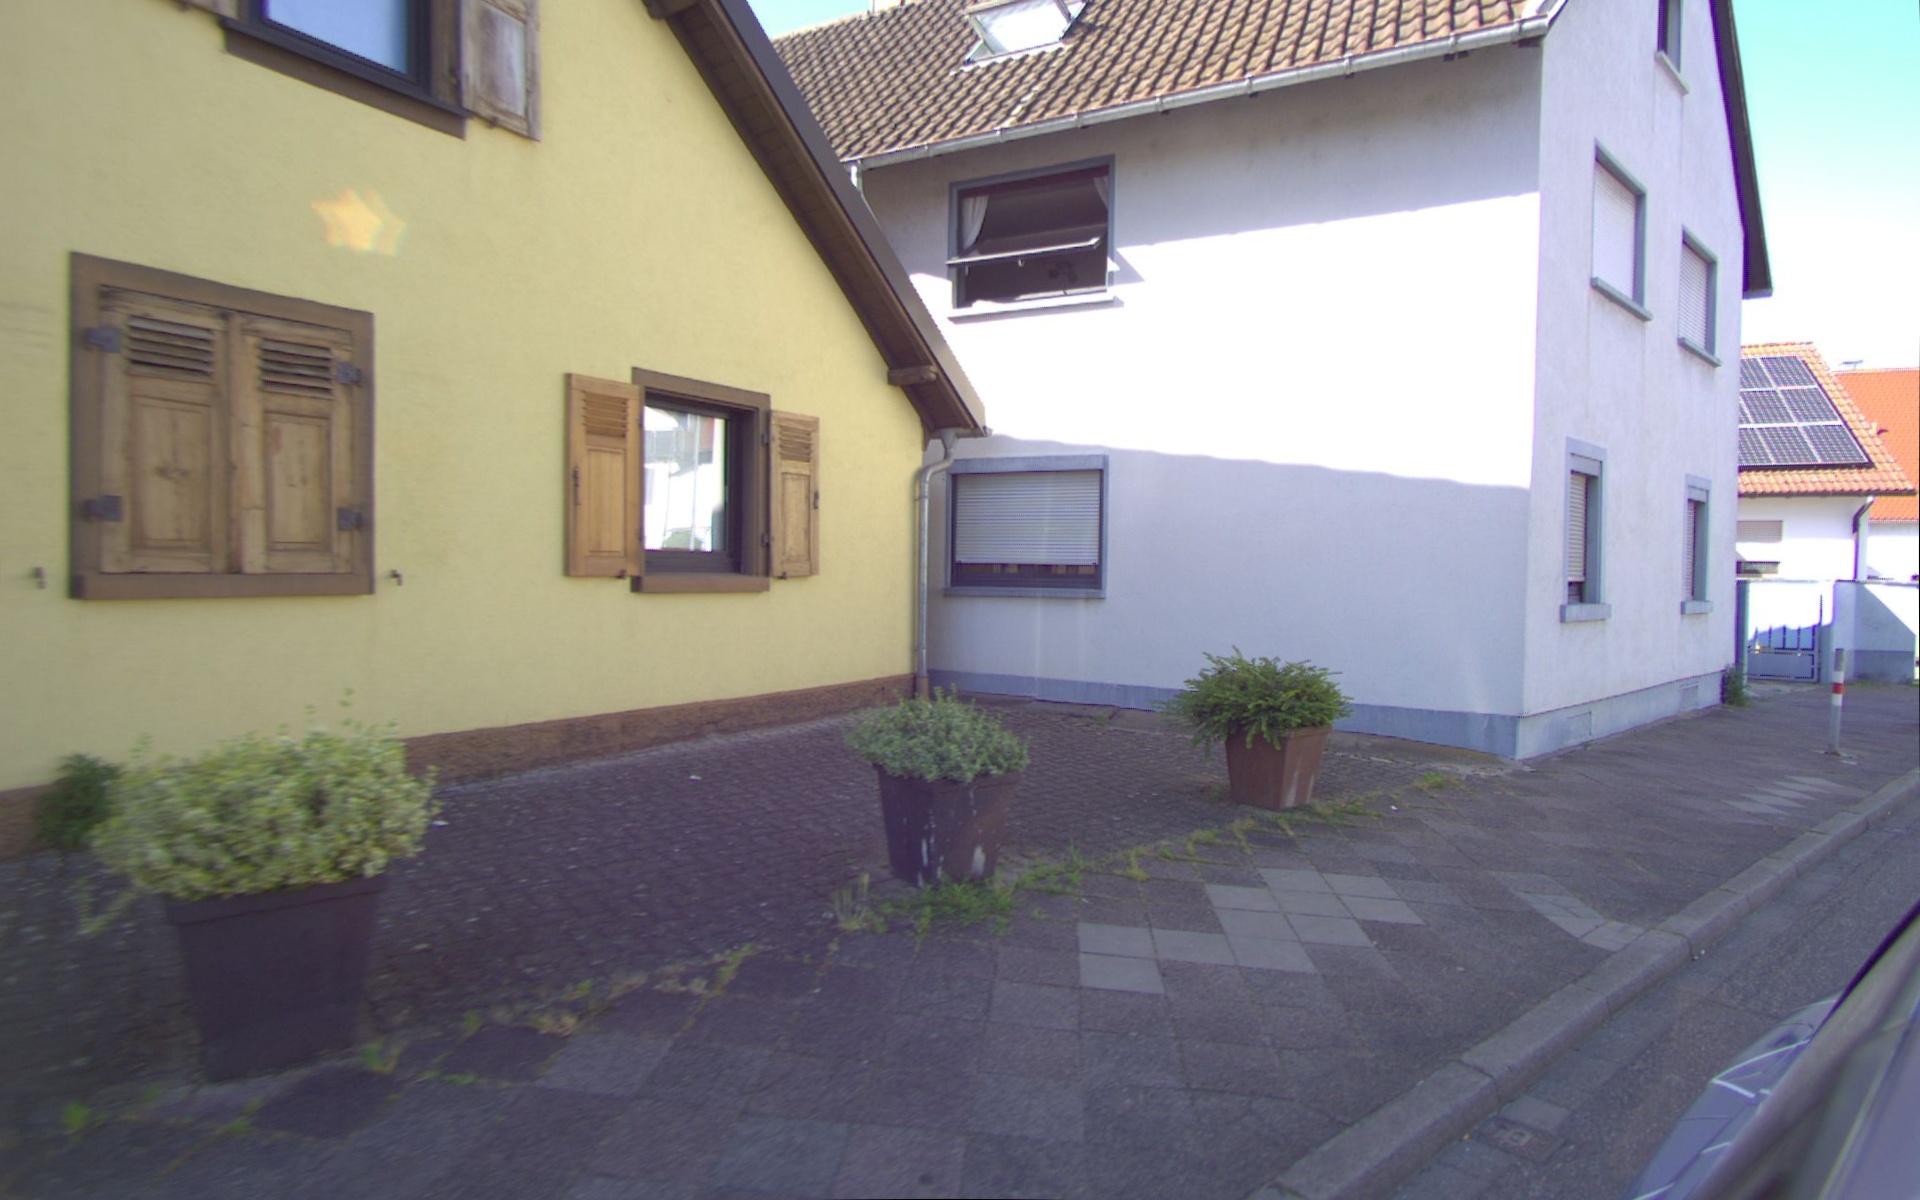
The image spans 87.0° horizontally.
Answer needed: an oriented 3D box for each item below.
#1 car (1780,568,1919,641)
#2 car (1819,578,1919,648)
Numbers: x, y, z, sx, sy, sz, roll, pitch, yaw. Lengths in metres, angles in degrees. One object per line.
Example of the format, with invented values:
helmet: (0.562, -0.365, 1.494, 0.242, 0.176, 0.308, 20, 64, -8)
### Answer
car: (24.268, 0.132, 26.489, 4.018, 1.709, 1.891, 4, 3, 31)
car: (22.563, 0.353, 23.184, 1.808, 1.510, 3.935, 1, 3, -24)
